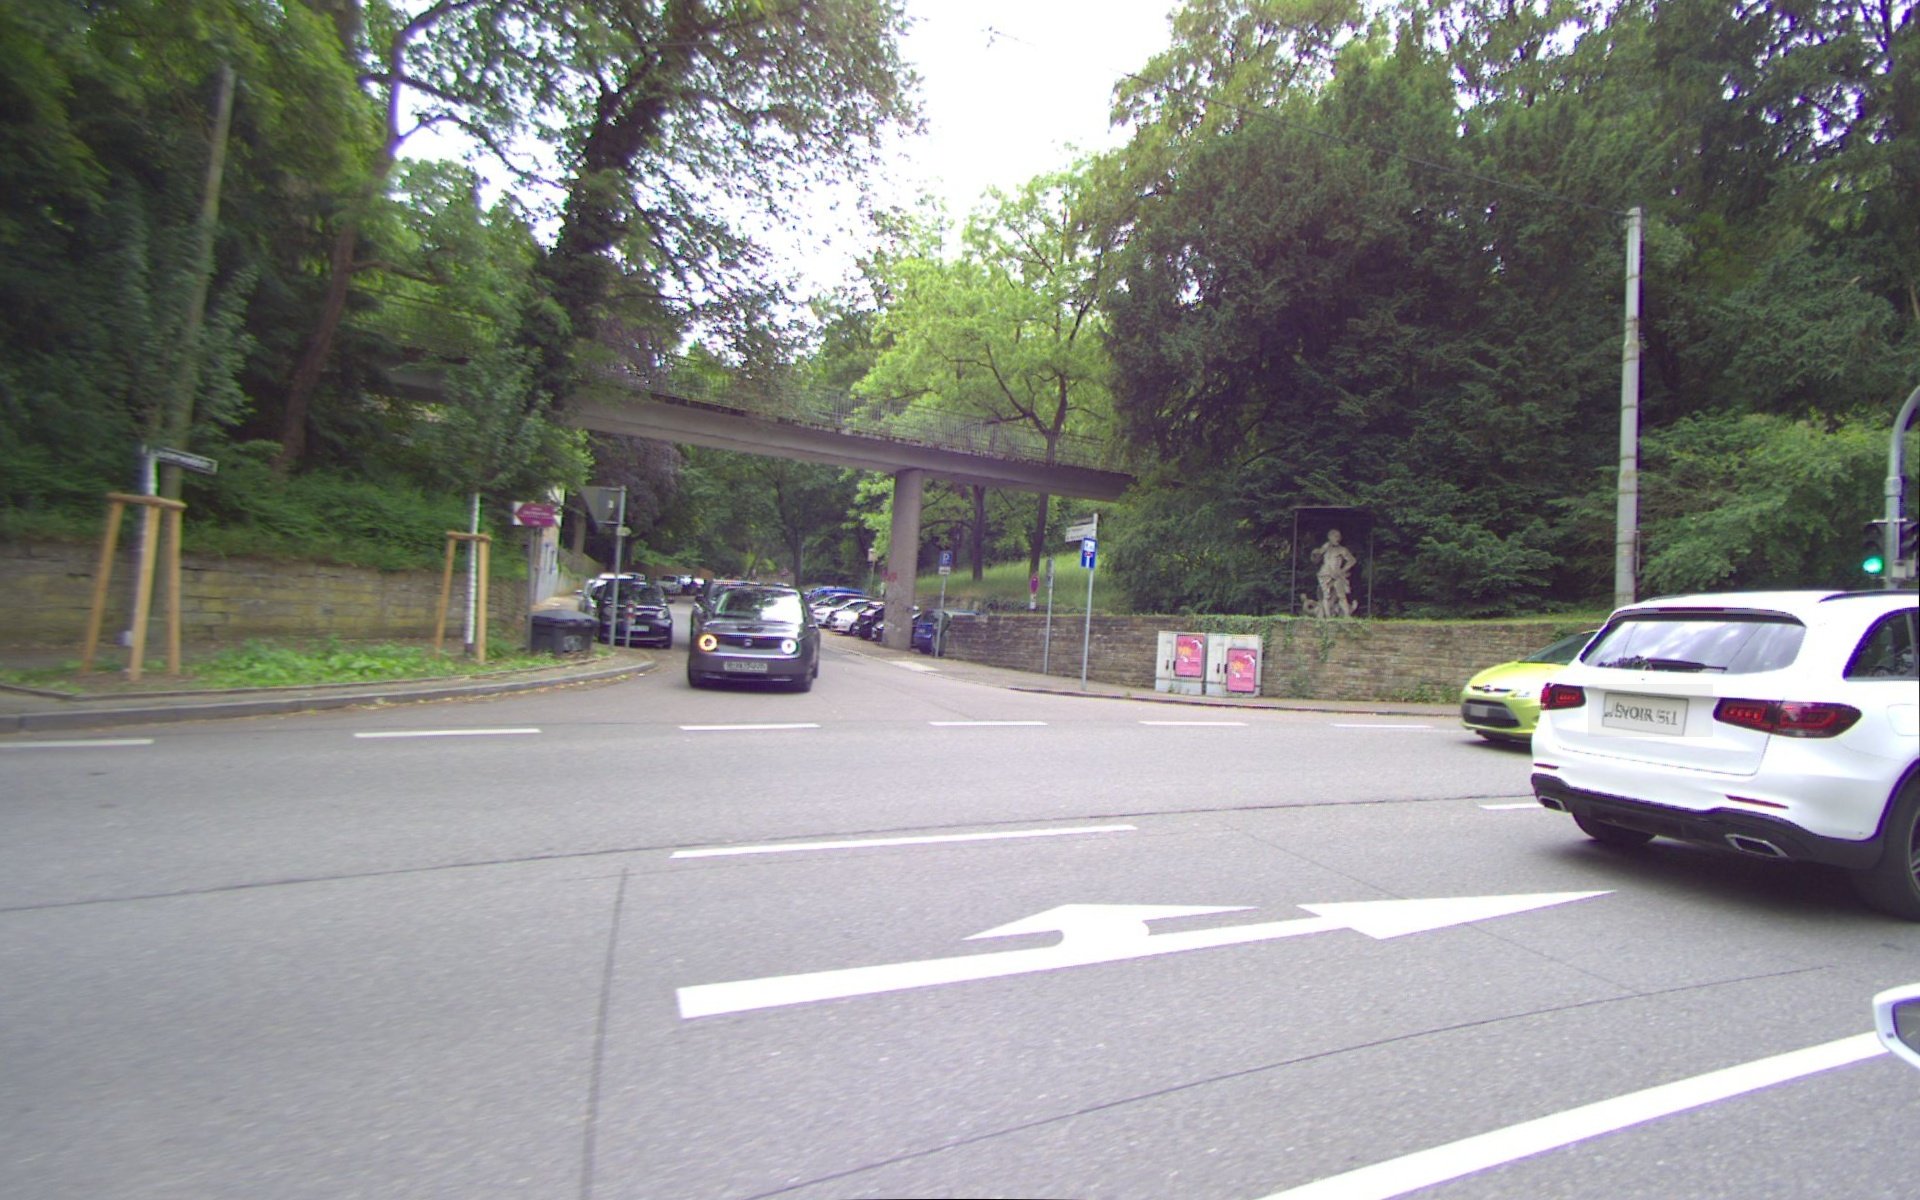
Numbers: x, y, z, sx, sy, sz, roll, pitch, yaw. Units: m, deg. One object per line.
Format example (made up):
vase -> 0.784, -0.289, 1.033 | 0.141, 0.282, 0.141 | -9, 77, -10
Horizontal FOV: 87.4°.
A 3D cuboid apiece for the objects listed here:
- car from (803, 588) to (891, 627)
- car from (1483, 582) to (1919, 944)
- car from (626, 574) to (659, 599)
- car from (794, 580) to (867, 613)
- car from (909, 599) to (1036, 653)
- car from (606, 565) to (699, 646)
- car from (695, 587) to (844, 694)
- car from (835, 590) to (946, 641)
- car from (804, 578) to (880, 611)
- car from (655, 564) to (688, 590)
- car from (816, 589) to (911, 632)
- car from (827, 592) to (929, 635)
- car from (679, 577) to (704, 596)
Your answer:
car -> -5.594, 0.366, 49.663 | 3.940, 1.538, 1.817 | 6, -1, -19
car -> 5.737, 0.766, 6.129 | 4.597, 1.627, 1.857 | 1, 0, -19
car -> -17.963, -0.759, 56.998 | 1.569, 1.244, 3.628 | 4, -1, -16
car -> -7.736, -0.201, 59.888 | 3.940, 1.613, 1.693 | 4, -1, -20
car -> 0.430, 0.886, 34.355 | 3.954, 1.572, 1.762 | 4, -1, -30
car -> -7.528, 0.095, 24.358 | 1.781, 1.707, 4.520 | 3, 0, -21
car -> -2.794, 0.534, 15.547 | 1.720, 1.376, 3.998 | 3, 0, -4
car -> -2.778, 0.602, 40.045 | 3.942, 1.607, 1.767 | 6, 0, -21
car -> -6.810, -0.284, 57.839 | 3.940, 1.539, 1.817 | 5, -1, -19
car -> -21.329, -1.666, 74.435 | 1.965, 1.773, 3.992 | 1, -1, -11
car -> -4.483, 0.474, 46.573 | 3.940, 1.538, 1.817 | 6, 0, -19
car -> -3.479, 0.574, 42.605 | 3.939, 1.539, 1.817 | 4, 0, -19
car -> -22.163, -1.091, 83.102 | 1.729, 1.452, 3.992 | 1, -1, -11
